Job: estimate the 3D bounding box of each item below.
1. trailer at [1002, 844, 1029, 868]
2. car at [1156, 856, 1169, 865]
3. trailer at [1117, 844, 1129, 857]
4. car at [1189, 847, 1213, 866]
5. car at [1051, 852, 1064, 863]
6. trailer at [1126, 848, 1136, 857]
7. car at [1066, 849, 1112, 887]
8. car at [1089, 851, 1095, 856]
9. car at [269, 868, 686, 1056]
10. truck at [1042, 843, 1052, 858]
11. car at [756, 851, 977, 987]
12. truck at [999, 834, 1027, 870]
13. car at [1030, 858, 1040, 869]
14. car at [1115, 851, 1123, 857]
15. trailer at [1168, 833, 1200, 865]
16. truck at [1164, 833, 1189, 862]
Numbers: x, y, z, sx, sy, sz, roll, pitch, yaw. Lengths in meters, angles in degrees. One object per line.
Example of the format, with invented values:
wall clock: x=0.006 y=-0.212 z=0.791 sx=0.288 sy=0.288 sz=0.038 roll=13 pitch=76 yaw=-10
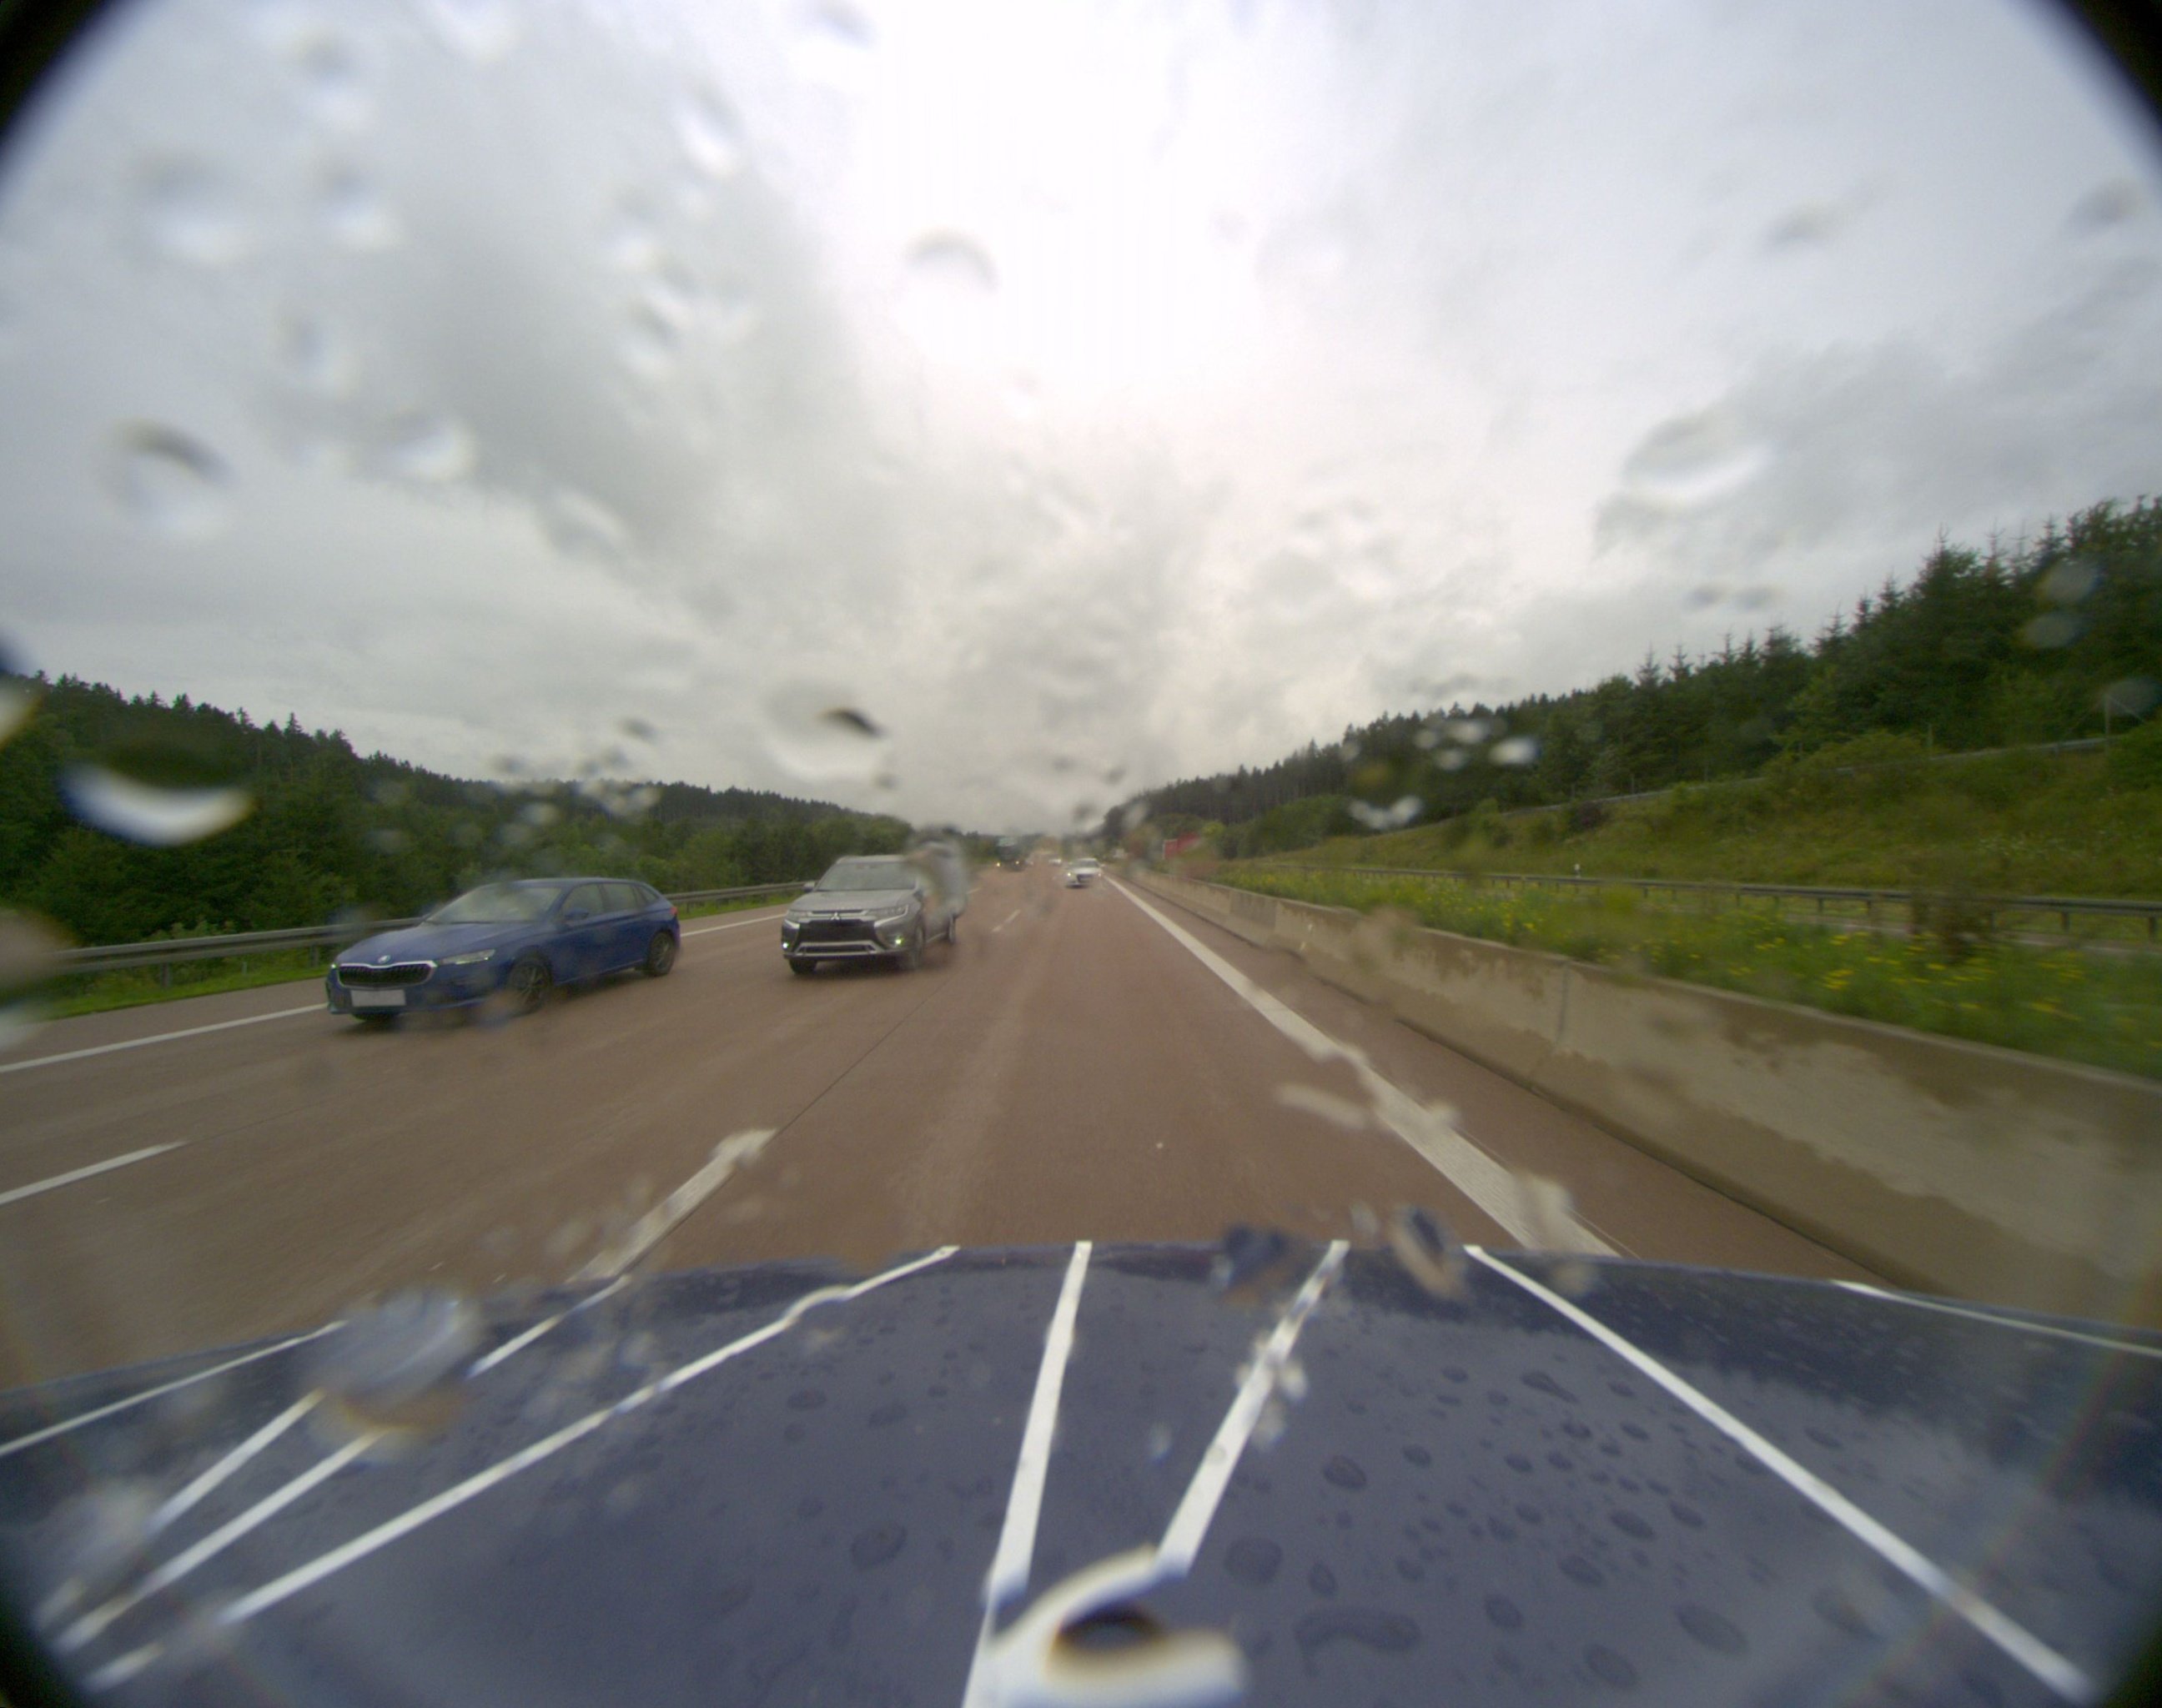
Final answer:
trailer: x=-8.312 y=0.169 z=97.235 sx=2.889 sy=2.660 sz=11.392 roll=-3 pitch=1 yaw=-3
car: x=15.824 y=1.162 z=147.657 sx=1.999 sy=1.566 sz=4.523 roll=-1 pitch=1 yaw=-1
trailer: x=13.436 y=-1.122 z=243.528 sx=2.746 sy=4.116 sz=12.750 roll=0 pitch=1 yaw=-1
car: x=12.304 y=0.217 z=78.192 sx=1.738 sy=1.712 sz=4.761 roll=-2 pitch=1 yaw=1
car: x=-3.855 y=0.592 z=126.494 sx=1.999 sy=1.623 sz=4.928 roll=-3 pitch=1 yaw=-3
trailer: x=13.735 y=-0.327 z=207.701 sx=2.283 sy=2.397 sz=5.437 roll=1 pitch=0 yaw=-1
car: x=0.322 y=0.662 z=38.603 sx=1.999 sy=1.623 sz=4.928 roll=-3 pitch=1 yaw=-3
car: x=3.870 y=-0.321 z=264.360 sx=1.674 sy=1.656 sz=4.475 roll=-2 pitch=1 yaw=-1
car: x=-6.842 y=1.071 z=9.349 sx=1.776 sy=1.555 sz=4.145 roll=-2 pitch=1 yaw=-1
truck: x=-9.779 y=-0.965 z=218.054 sx=2.611 sy=4.190 sz=6.247 roll=-3 pitch=2 yaw=-3
car: x=-3.182 y=0.836 z=12.786 sx=1.998 sy=1.583 sz=5.818 roll=-2 pitch=1 yaw=0
truck: x=-7.955 y=-0.268 z=89.307 sx=2.905 sy=3.942 sz=6.985 roll=-3 pitch=2 yaw=-3
car: x=-7.979 y=1.593 z=131.368 sx=1.703 sy=1.602 sz=4.974 roll=-2 pitch=1 yaw=-4
car: x=10.103 y=-0.018 z=202.214 sx=1.869 sy=1.656 sz=4.707 roll=-2 pitch=1 yaw=1
trailer: x=15.337 y=-0.849 z=114.037 sx=2.948 sy=4.463 sz=11.771 roll=-2 pitch=1 yaw=0
truck: x=15.292 y=-1.045 z=121.732 sx=2.958 sy=4.452 sz=6.789 roll=-2 pitch=2 yaw=0
